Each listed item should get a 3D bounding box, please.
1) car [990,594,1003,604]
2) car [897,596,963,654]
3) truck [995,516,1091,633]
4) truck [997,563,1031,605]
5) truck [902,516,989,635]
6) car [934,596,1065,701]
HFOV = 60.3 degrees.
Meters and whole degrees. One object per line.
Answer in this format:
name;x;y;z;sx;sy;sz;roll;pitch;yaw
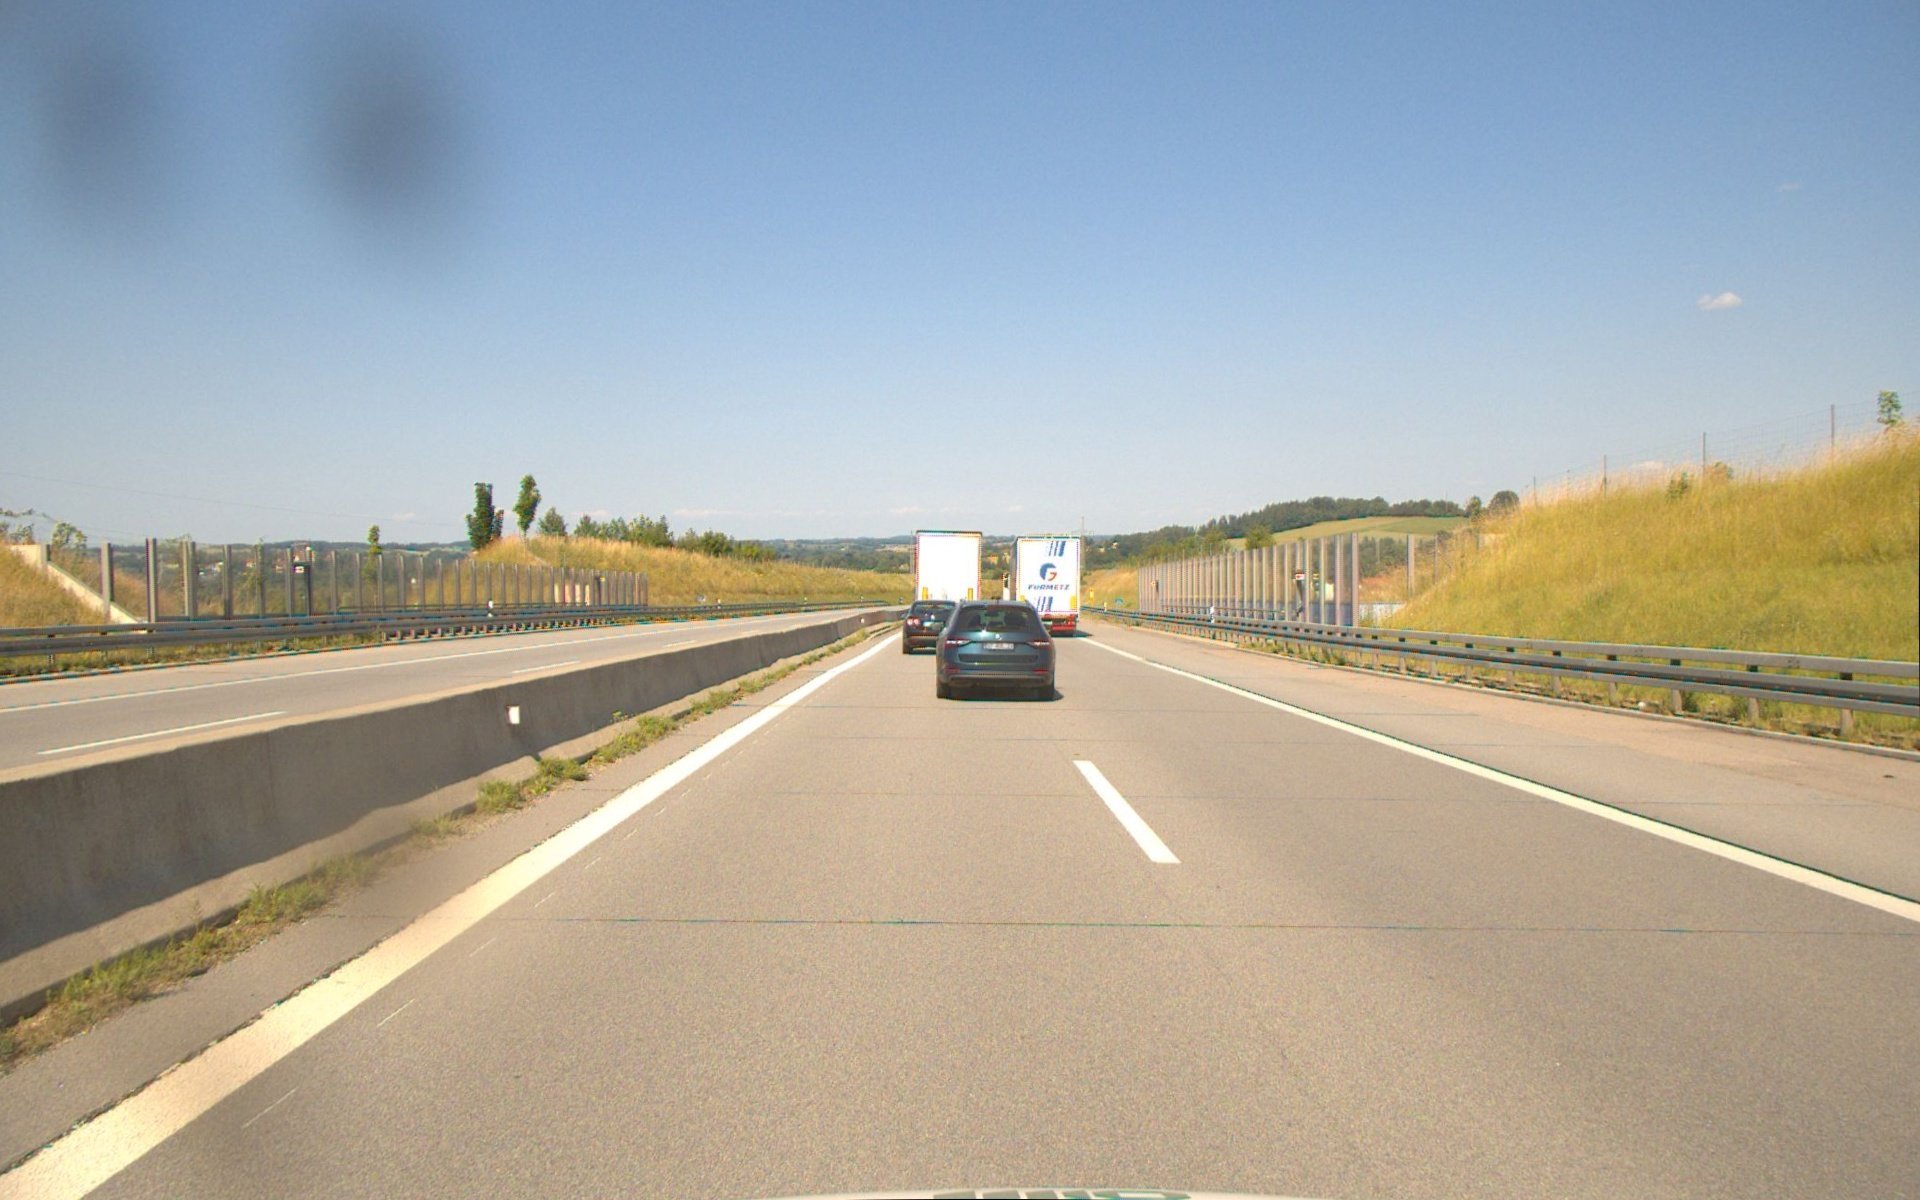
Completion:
car;4.930;-0.148;226.681;1.665;1.466;4.000;0;0;0
car;-0.875;0.660;45.752;1.666;1.466;3.998;-2;0;-3
truck;3.381;-1.020;70.618;3.530;4.457;11.235;-2;0;1
truck;6.010;-1.759;186.843;3.530;4.457;11.235;-2;0;1
truck;-0.452;-0.982;69.385;3.144;4.457;11.235;-2;0;1
car;0.533;0.687;25.382;1.741;1.466;3.787;0;0;-3
